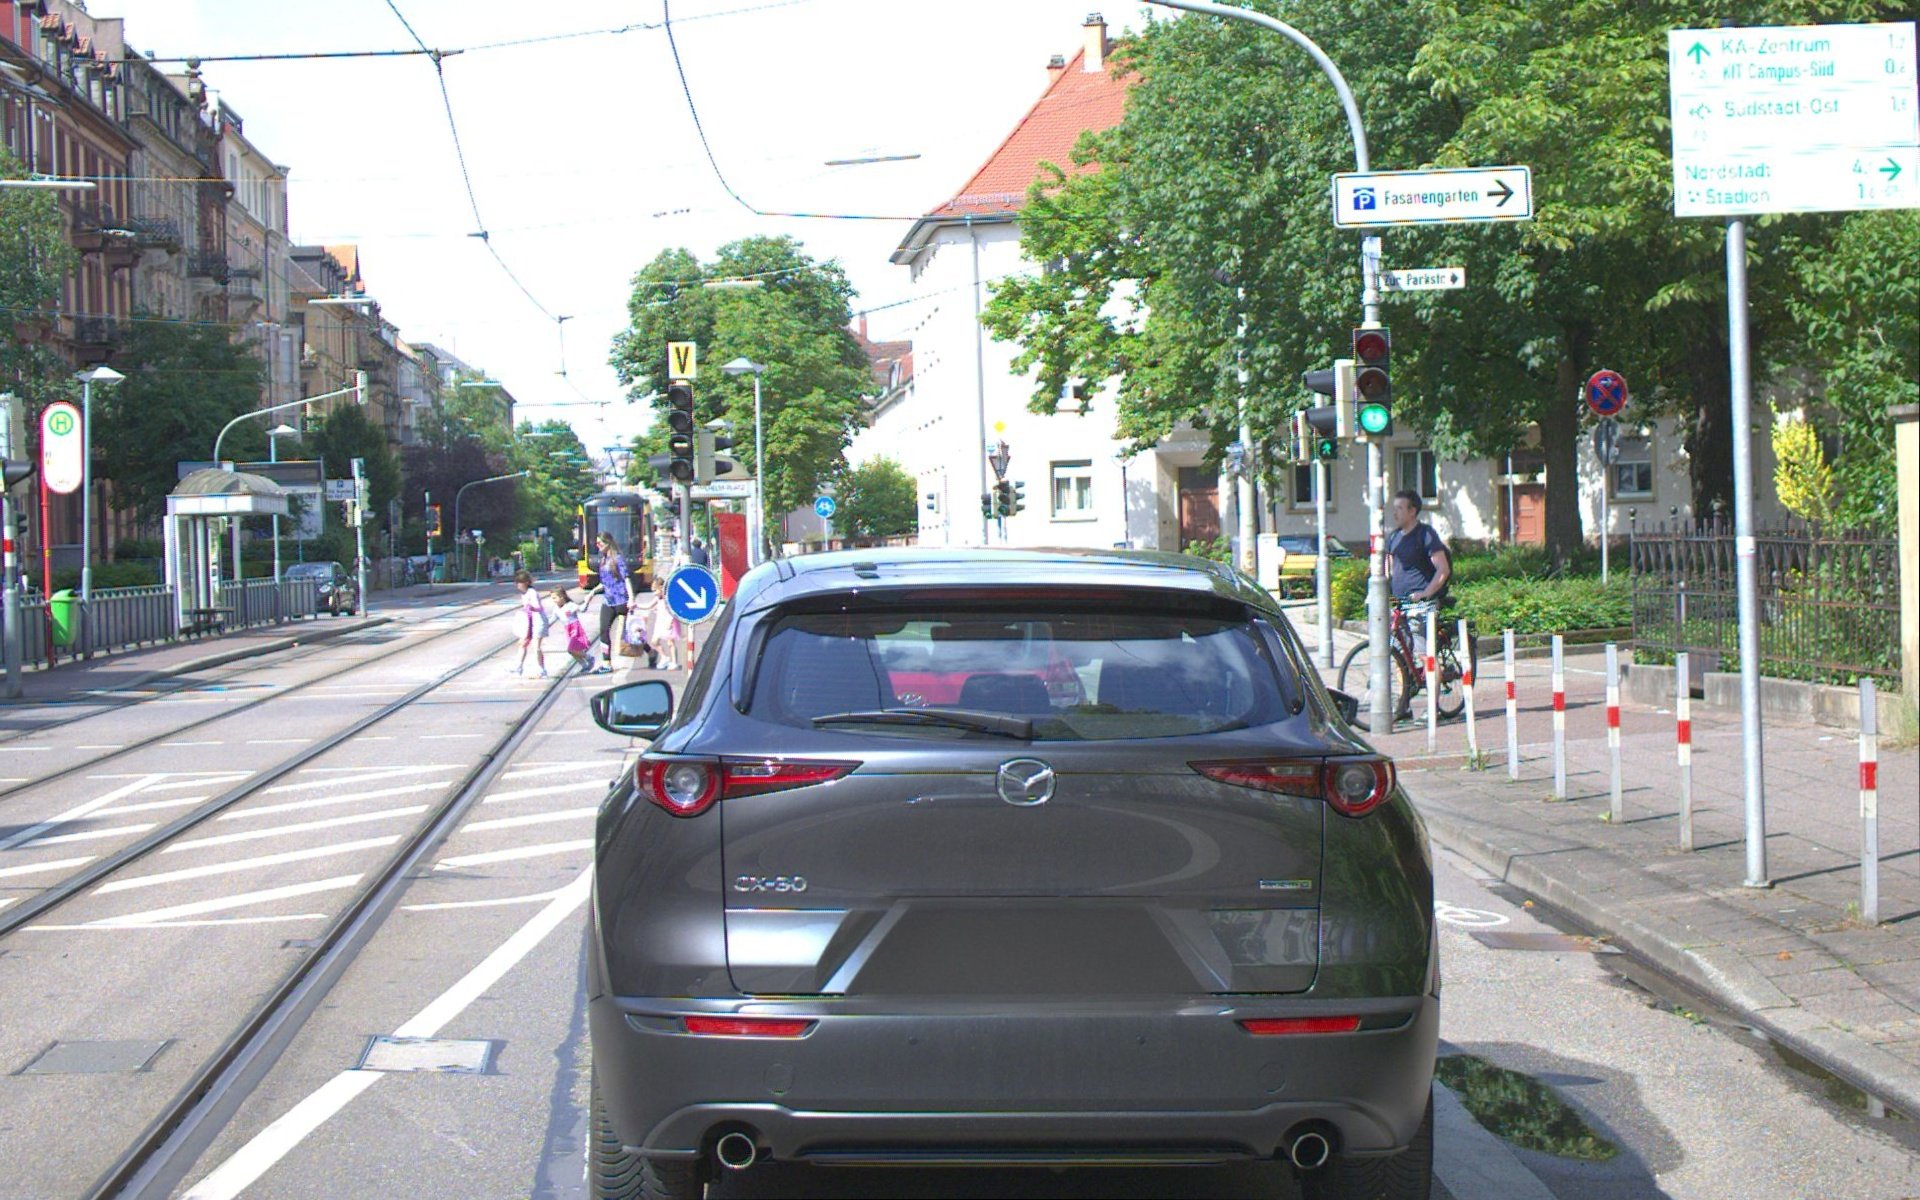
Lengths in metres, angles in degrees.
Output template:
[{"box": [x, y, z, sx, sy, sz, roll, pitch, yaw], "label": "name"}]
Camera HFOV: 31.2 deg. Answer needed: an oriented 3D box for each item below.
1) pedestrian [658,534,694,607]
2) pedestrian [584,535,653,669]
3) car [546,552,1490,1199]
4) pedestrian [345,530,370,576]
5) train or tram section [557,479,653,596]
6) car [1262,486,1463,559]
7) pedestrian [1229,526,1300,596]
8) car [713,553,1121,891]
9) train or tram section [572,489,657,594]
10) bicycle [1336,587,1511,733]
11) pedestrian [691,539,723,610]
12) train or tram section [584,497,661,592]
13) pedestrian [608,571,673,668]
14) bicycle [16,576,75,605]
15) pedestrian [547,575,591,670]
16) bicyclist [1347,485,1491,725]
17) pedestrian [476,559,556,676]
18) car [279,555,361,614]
[{"box": [-6.558, -0.687, 79.307, 0.770, 1.669, 0.668, -2, 1, -5], "label": "pedestrian"}, {"box": [-4.074, 0.018, 40.985, 0.728, 1.560, 0.799, -2, 1, -9], "label": "pedestrian"}, {"box": [0.098, 0.652, 8.550, 1.782, 1.509, 4.000, 1, 1, 0], "label": "car"}, {"box": [-22.047, -1.720, 125.809, 0.788, 1.682, 0.732, -1, 1, -3], "label": "pedestrian"}, {"box": [-12.903, -2.192, 125.962, 2.997, 3.970, 13.811, -2, 0, -4], "label": "train or tram section"}, {"box": [9.219, -1.771, 78.869, 4.167, 1.504, 1.848, 0, 3, 38], "label": "car"}, {"box": [5.809, -0.742, 65.595, 1.192, 1.264, 0.558, -4, 1, -9], "label": "pedestrian"}, {"box": [-0.231, 0.507, 16.913, 1.775, 1.459, 3.843, 0, 1, -1], "label": "car"}, {"box": [-13.943, -2.289, 139.755, 2.997, 3.970, 13.811, -2, 0, -4], "label": "train or tram section"}, {"box": [3.634, 0.456, 26.835, 0.389, 1.032, 1.841, -1, 2, 40], "label": "bicycle"}, {"box": [-5.614, -0.571, 76.238, 0.667, 1.540, 0.581, -1, 1, -5], "label": "pedestrian"}, {"box": [-14.983, -2.383, 153.541, 2.997, 3.970, 13.811, -2, 0, -4], "label": "train or tram section"}, {"box": [-3.759, 0.227, 40.417, 0.641, 1.110, 0.444, -2, 1, -18], "label": "pedestrian"}, {"box": [-24.587, -0.255, 92.471, 0.386, 0.745, 1.708, -1, 1, 32], "label": "bicycle"}, {"box": [-4.676, 0.262, 41.055, 0.437, 1.104, 0.423, -4, 1, -9], "label": "pedestrian"}, {"box": [3.564, 0.029, 26.704, 0.733, 1.813, 0.820, -2, 1, -27], "label": "bicyclist"}, {"box": [-5.185, 0.200, 40.095, 0.825, 1.299, 0.717, -4, 1, -9], "label": "pedestrian"}, {"box": [-16.354, -0.408, 87.940, 1.624, 1.382, 3.437, -3, 1, -4], "label": "car"}]
